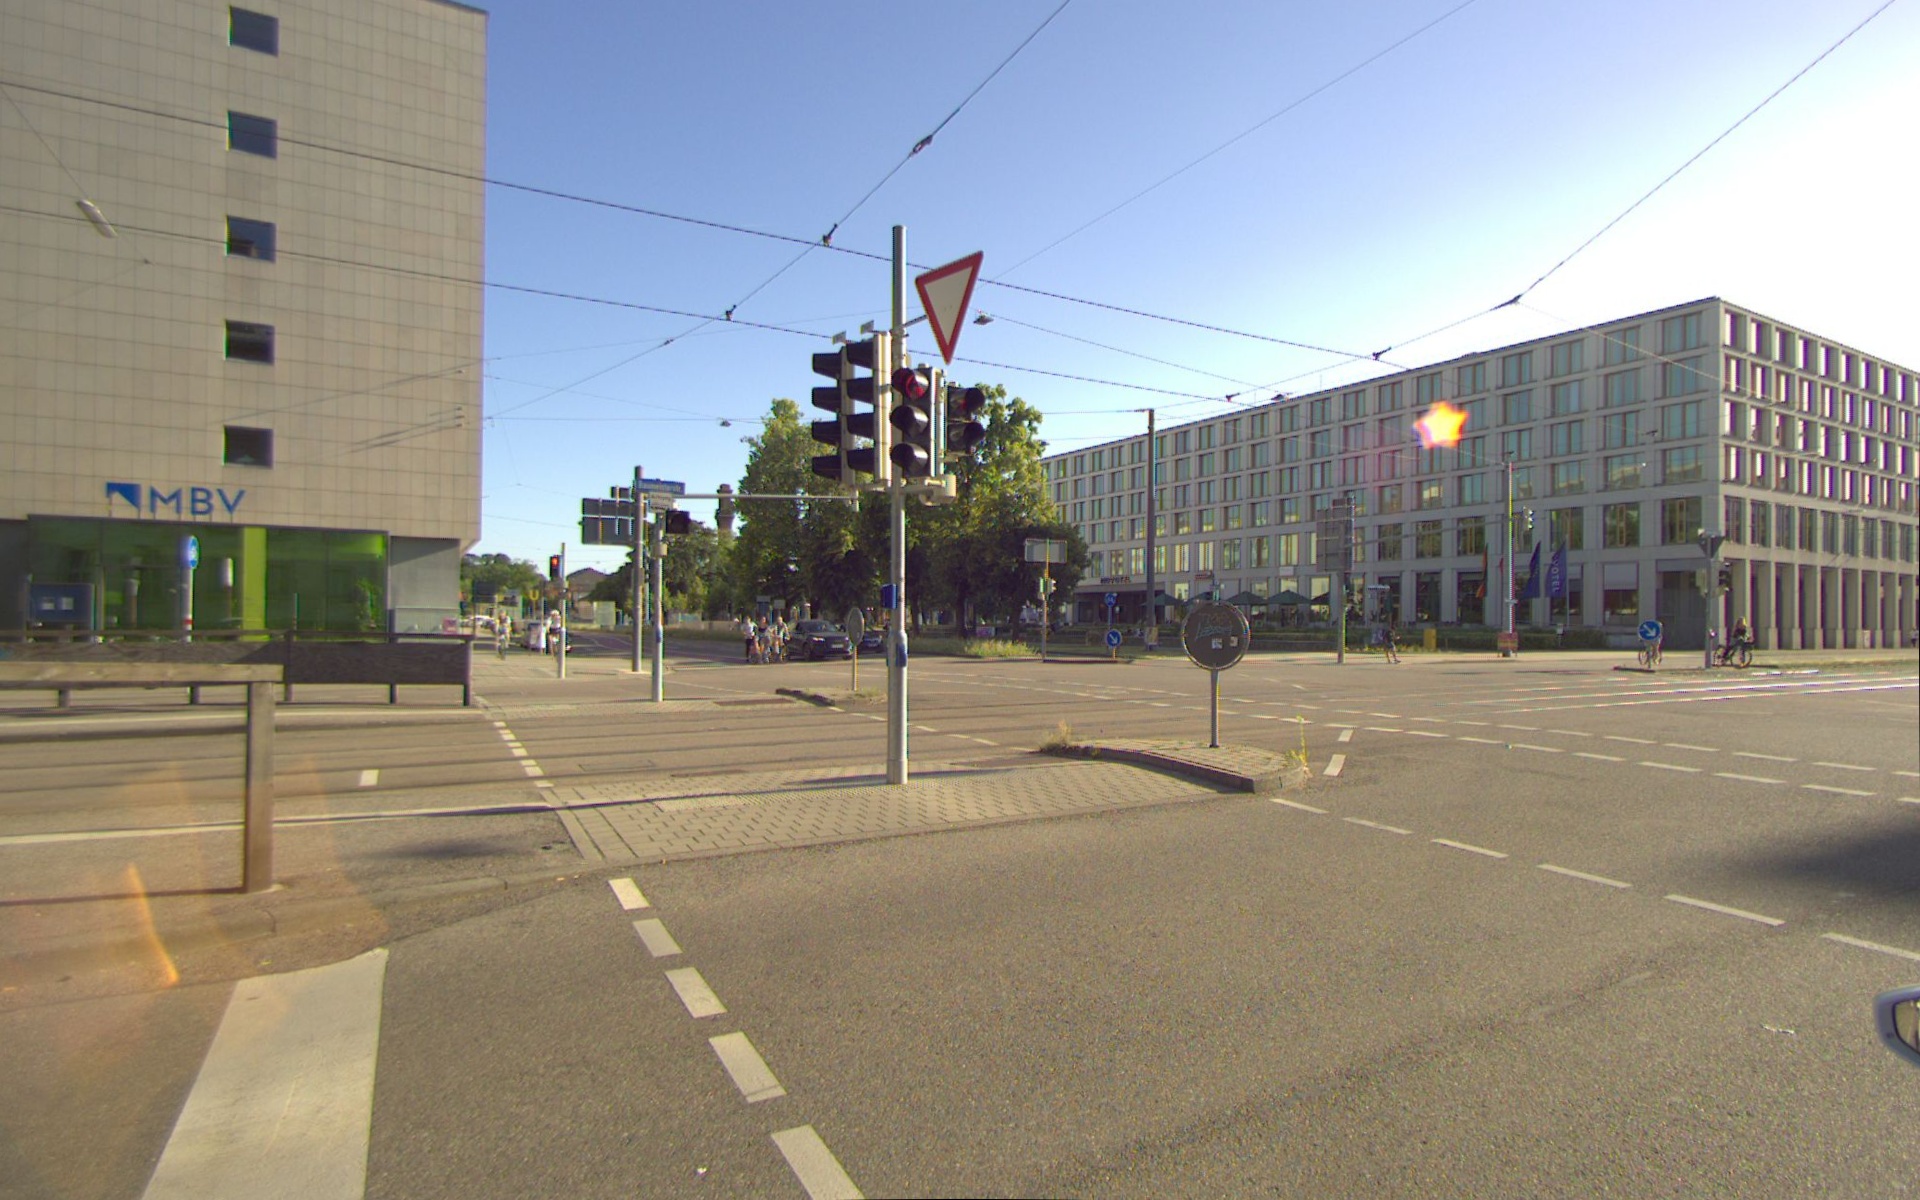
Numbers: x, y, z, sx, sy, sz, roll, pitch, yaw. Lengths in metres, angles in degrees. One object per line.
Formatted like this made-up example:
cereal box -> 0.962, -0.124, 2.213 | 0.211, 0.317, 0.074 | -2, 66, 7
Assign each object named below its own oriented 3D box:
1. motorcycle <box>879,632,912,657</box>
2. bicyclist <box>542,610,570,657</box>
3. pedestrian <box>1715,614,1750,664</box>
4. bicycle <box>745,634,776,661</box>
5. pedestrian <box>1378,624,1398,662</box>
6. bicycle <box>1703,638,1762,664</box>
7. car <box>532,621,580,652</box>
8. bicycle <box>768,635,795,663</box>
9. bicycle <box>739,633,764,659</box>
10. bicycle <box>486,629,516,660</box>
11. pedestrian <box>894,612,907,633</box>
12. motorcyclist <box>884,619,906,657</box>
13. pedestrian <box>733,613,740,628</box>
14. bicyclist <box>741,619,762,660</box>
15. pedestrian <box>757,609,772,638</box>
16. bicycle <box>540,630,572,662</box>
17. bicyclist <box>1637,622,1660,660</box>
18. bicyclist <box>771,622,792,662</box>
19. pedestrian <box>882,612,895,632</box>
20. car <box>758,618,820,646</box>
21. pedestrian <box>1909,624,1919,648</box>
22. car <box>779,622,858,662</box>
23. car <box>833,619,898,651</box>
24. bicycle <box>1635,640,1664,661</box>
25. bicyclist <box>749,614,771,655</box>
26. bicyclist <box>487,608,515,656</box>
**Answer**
motorcycle -> -2.798, 1.919, 43.569 | 0.623, 1.030, 1.972 | -3, 1, -28
bicyclist -> -13.939, 1.155, 34.674 | 0.802, 1.623, 0.677 | 1, -1, -29
pedestrian -> 25.424, 1.271, 33.067 | 0.562, 1.616, 0.744 | 1, -1, -2
bicycle -> -7.696, 1.820, 38.637 | 0.577, 1.032, 1.806 | 1, -3, -31
pedestrian -> 19.263, 1.916, 45.204 | 0.595, 1.703, 0.605 | 1, -1, -7
bicycle -> 25.420, 1.667, 33.077 | 0.562, 0.834, 1.718 | 1, -1, -2
car -> -21.760, 1.949, 54.040 | 1.975, 1.472, 4.179 | 2, 0, -28
bicycle -> -6.925, 1.896, 38.996 | 0.576, 1.032, 1.666 | 1, -1, -27
bicycle -> -8.474, 1.864, 40.788 | 0.576, 1.032, 1.666 | 1, -1, -27
bicycle -> -15.943, 1.535, 34.864 | 0.802, 1.047, 2.111 | 1, -2, -28
pedestrian -> -5.098, 1.941, 86.646 | 0.858, 1.738, 0.737 | 2, 0, -26
motorcyclist -> -2.834, 1.656, 43.603 | 0.624, 1.600, 0.812 | -3, 1, -28
pedestrian -> -27.728, 2.547, 124.458 | 0.758, 1.829, 0.624 | 2, 0, -6
bicyclist -> -8.469, 1.602, 40.793 | 0.576, 1.658, 0.890 | 1, -1, -27
pedestrian -> -13.771, 1.670, 70.765 | 0.772, 2.040, 0.747 | 1, -1, -31
bicycle -> -14.000, 1.588, 34.770 | 0.802, 1.047, 2.111 | 1, -2, -28
bicyclist -> 27.411, 1.627, 39.995 | 0.658, 1.518, 0.492 | 1, -1, -27
bicyclist -> -6.933, 1.624, 39.030 | 0.576, 1.563, 0.890 | 1, -1, -27
pedestrian -> -6.193, 1.913, 86.949 | 0.858, 1.738, 0.737 | 2, 0, -26
car -> -9.645, 1.775, 56.409 | 1.979, 1.537, 3.962 | 1, -2, -34
pedestrian -> 77.108, 2.897, 81.033 | 0.469, 1.914, 0.590 | 1, 0, 2
car -> -5.871, 1.709, 41.390 | 1.925, 1.561, 3.969 | 2, -2, -29
car -> -4.626, 1.665, 48.822 | 1.674, 1.506, 3.719 | 1, -2, -33
bicycle -> 27.440, 2.007, 39.984 | 1.141, 0.850, 0.492 | 1, -1, -28
bicyclist -> -7.692, 1.342, 38.636 | 0.577, 1.563, 0.833 | 1, -2, -32
bicyclist -> -15.934, 1.101, 34.866 | 0.802, 1.623, 0.677 | 1, -1, -29
